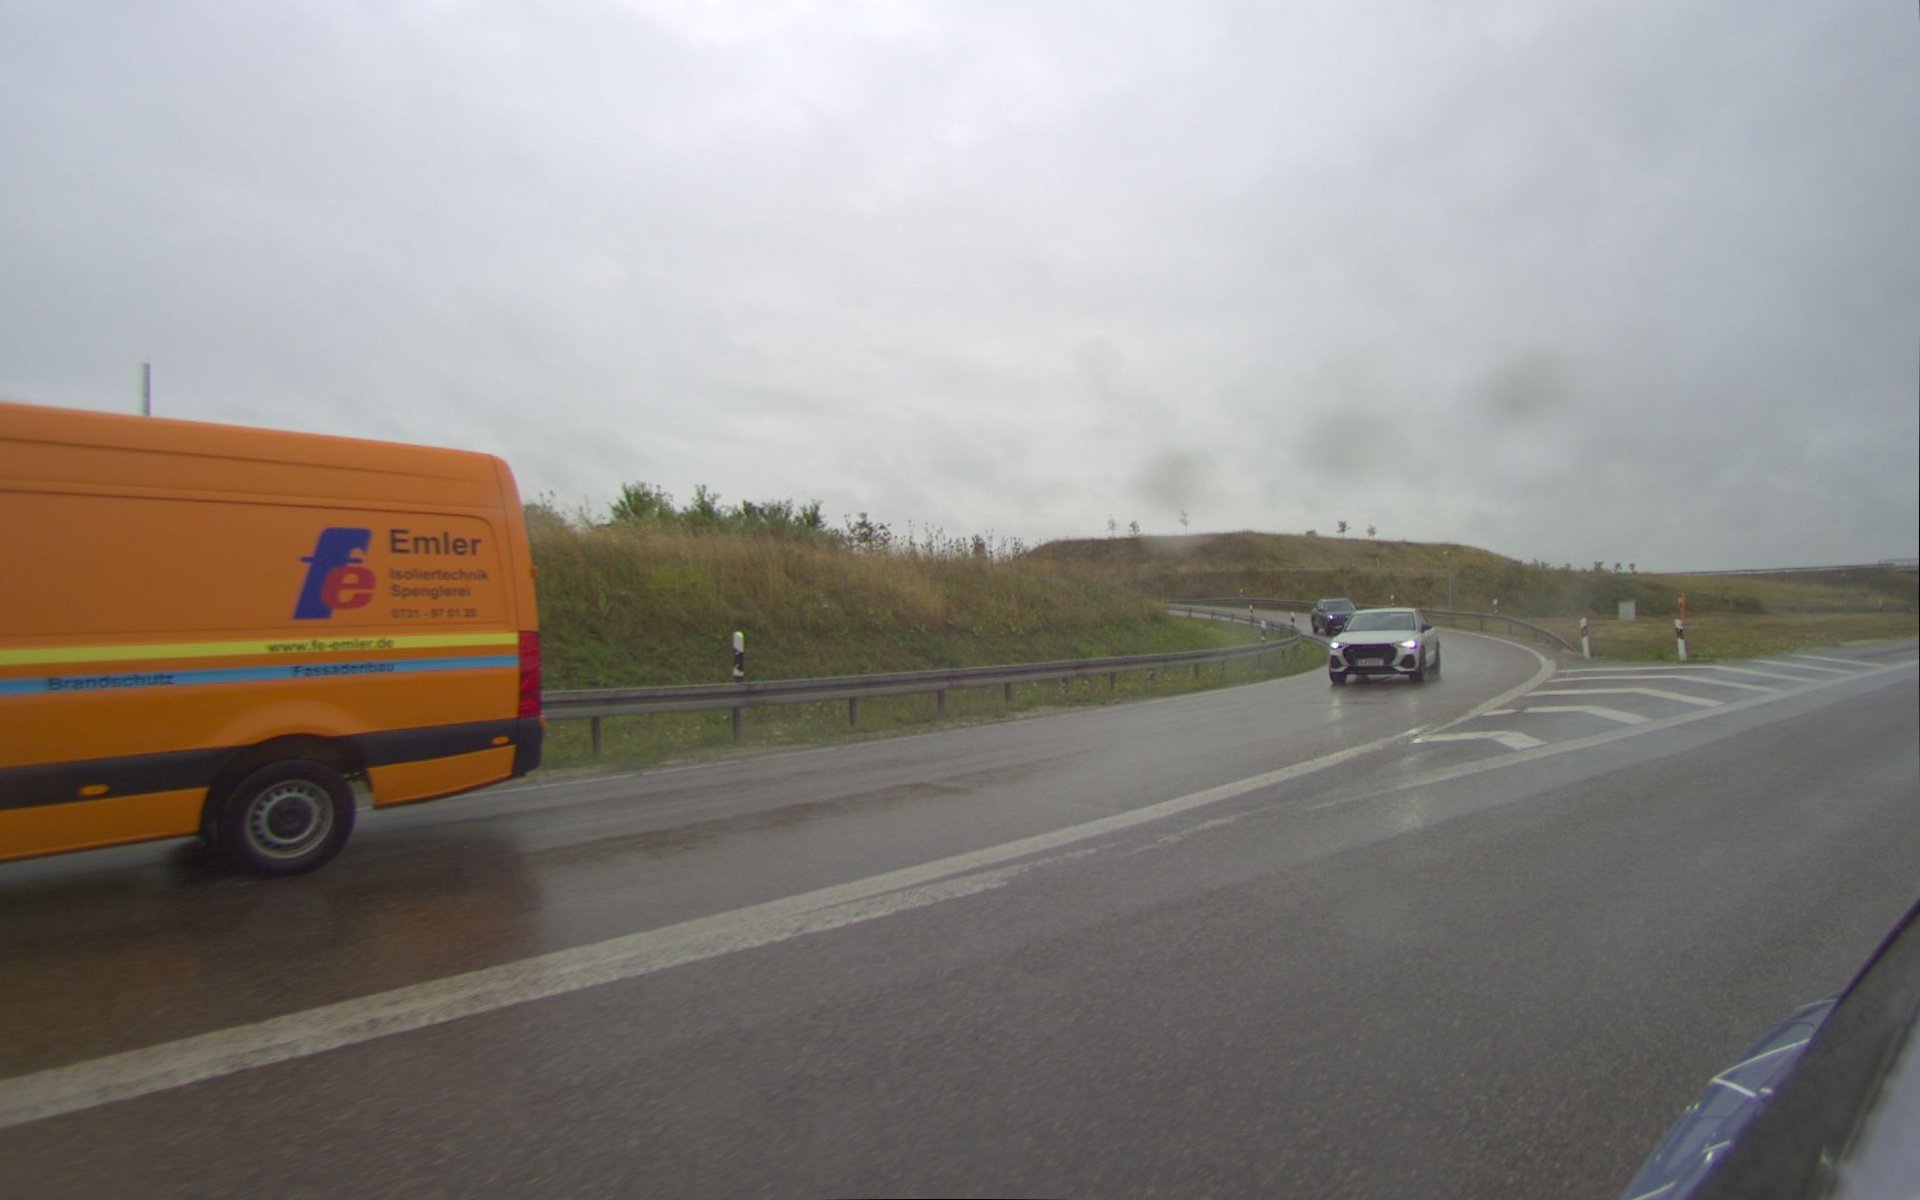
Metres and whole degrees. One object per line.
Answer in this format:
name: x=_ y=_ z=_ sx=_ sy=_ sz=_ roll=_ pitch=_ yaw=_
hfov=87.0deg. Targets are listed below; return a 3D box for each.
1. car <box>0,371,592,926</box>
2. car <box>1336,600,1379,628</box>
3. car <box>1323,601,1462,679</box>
car: x=-5.605 y=0.245 z=5.250 sx=2.060 sy=2.649 sz=6.779 roll=-2 pitch=-1 yaw=43
car: x=19.452 y=0.655 z=49.672 sx=1.798 sy=1.304 sz=3.974 roll=0 pitch=0 yaw=20
car: x=9.602 y=0.821 z=22.255 sx=1.901 sy=1.505 sz=4.421 roll=-4 pitch=-2 yaw=35
